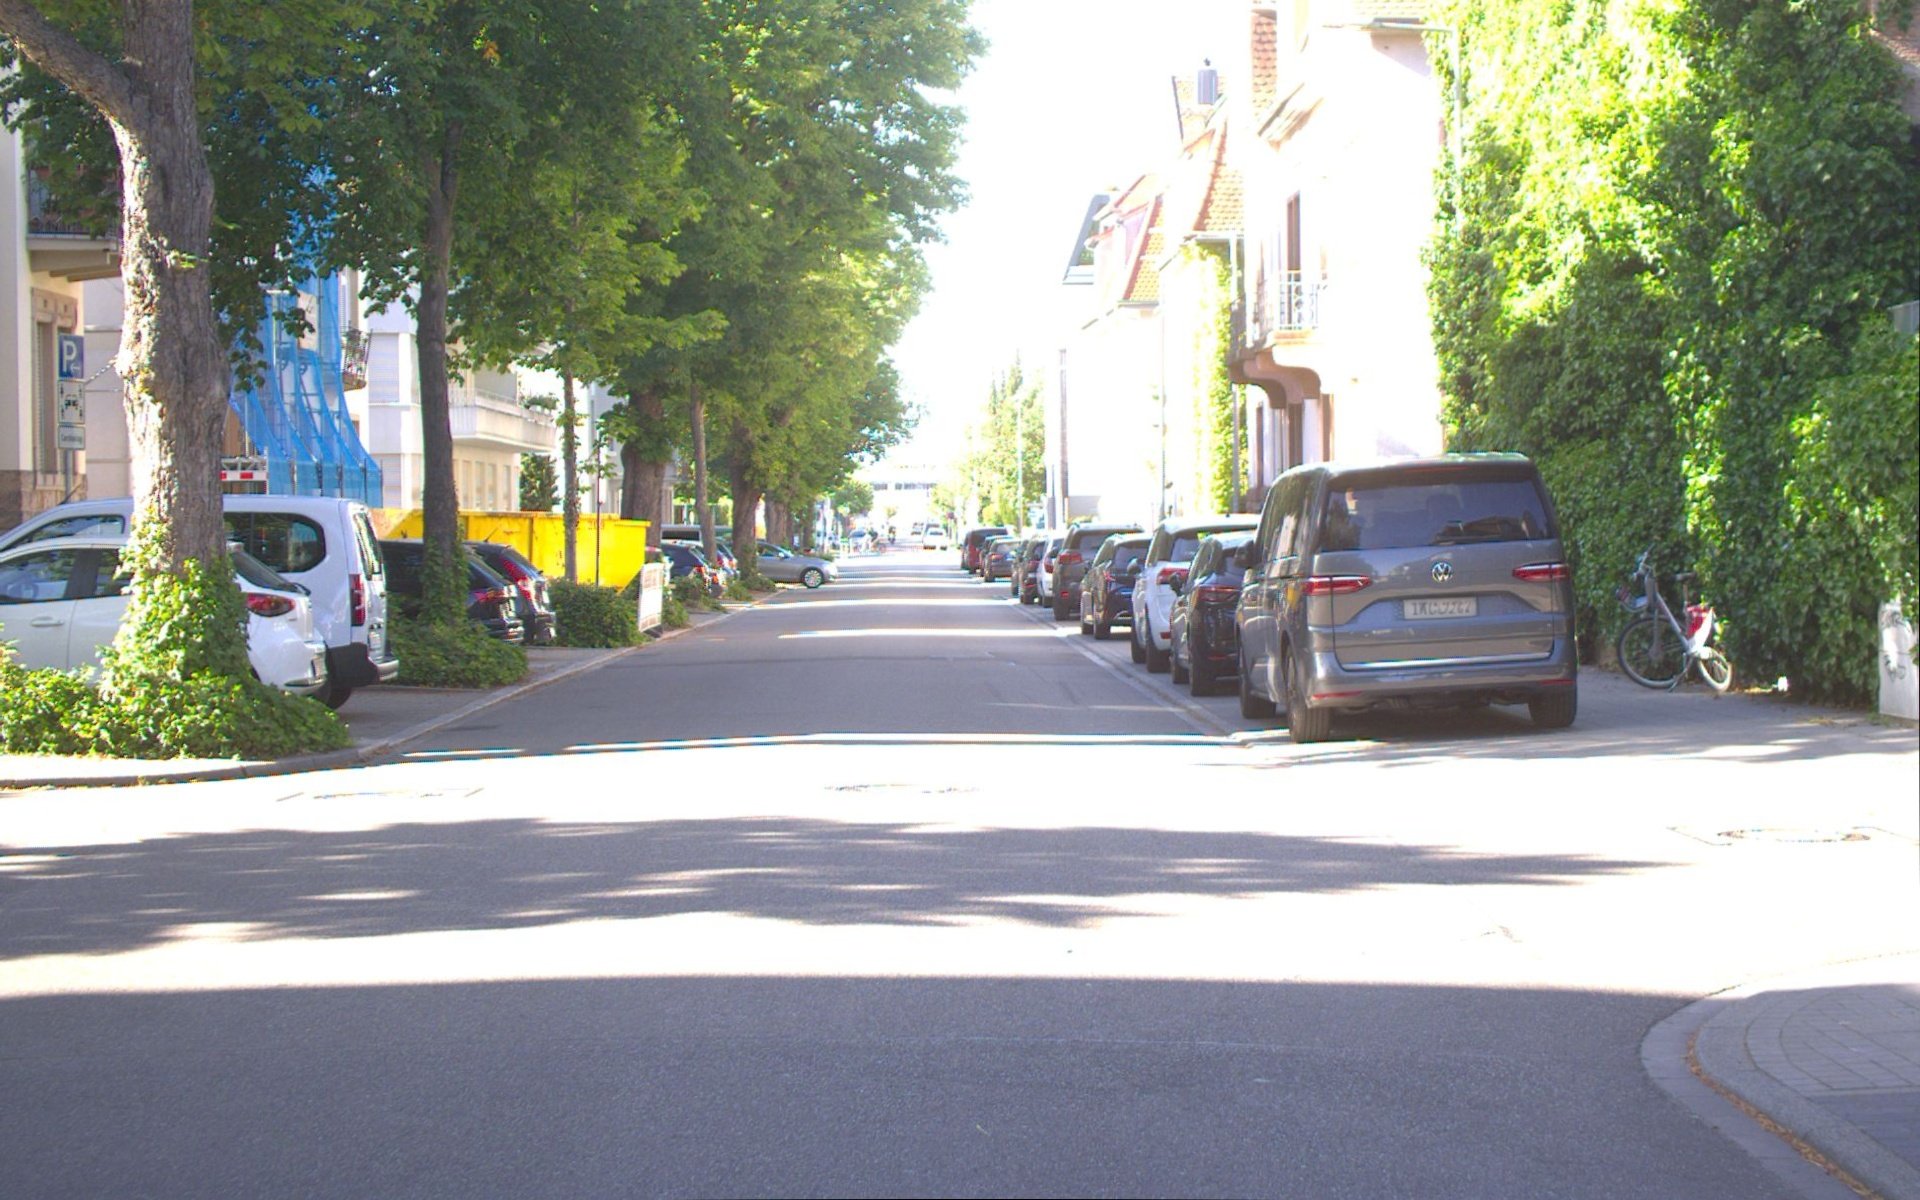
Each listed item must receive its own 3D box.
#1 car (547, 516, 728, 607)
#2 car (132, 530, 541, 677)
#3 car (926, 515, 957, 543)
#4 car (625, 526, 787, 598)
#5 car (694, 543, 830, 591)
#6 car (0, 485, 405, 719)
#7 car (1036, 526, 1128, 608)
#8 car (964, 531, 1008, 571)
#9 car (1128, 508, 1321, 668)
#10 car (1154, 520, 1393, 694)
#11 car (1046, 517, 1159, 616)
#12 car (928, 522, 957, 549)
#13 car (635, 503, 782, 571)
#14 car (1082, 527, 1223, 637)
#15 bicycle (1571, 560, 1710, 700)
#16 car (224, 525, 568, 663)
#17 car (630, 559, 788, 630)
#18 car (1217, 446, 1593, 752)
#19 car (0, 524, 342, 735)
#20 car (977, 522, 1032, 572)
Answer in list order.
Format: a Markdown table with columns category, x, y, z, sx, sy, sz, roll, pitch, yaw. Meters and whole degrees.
| category | x | y | z | sx | sy | sz | roll | pitch | yaw |
| --- | --- | --- | --- | --- | --- | --- | --- | --- | --- |
| car | -7.386 | -0.889 | 78.520 | 3.986 | 2.007 | 2.001 | -1 | 1 | -9 |
| car | -6.594 | 0.022 | 36.653 | 3.987 | 1.464 | 1.864 | 0 | 2 | 1 |
| car | -1.104 | -4.242 | 205.326 | 1.771 | 1.625 | 3.866 | -1 | 1 | 0 |
| car | -6.617 | -1.009 | 89.886 | 4.006 | 1.729 | 1.894 | 2 | 2 | 2 |
| car | -5.996 | -1.017 | 104.421 | 3.987 | 1.404 | 1.702 | -1 | 1 | 1 |
| car | -6.583 | -0.004 | 27.709 | 3.986 | 1.754 | 1.798 | 1 | 1 | -4 |
| car | 2.519 | -0.711 | 71.664 | 1.771 | 1.625 | 3.866 | -1 | 1 | 0 |
| car | 1.069 | -2.033 | 142.263 | 1.771 | 1.625 | 3.866 | -1 | 1 | 0 |
| car | 2.789 | -0.167 | 36.929 | 1.789 | 1.612 | 3.866 | -1 | 1 | 0 |
| car | 2.794 | 0.016 | 31.355 | 1.690 | 1.394 | 3.806 | -3 | 1 | -1 |
| car | 2.415 | -0.597 | 59.020 | 1.771 | 1.625 | 3.866 | -1 | 1 | 0 |
| car | -1.071 | -3.984 | 213.285 | 1.771 | 1.625 | 3.866 | -1 | 1 | 0 |
| car | -7.221 | -1.825 | 99.039 | 4.006 | 1.834 | 2.000 | 2 | 2 | 2 |
| car | 2.665 | -0.277 | 48.217 | 1.771 | 1.450 | 3.866 | -1 | 1 | 0 |
| bicycle | 5.325 | 0.213 | 27.019 | 0.588 | 1.020 | 2.370 | -1 | 1 | -1 |
| car | -6.785 | -0.098 | 41.530 | 3.986 | 1.546 | 1.838 | -1 | 2 | -9 |
| car | -6.735 | -0.166 | 92.493 | 4.006 | 1.729 | 1.894 | 2 | 2 | 2 |
| car | 3.054 | -0.065 | 24.562 | 1.904 | 1.864 | 4.674 | -3 | 1 | -1 |
| car | -6.710 | 0.186 | 25.513 | 3.986 | 1.459 | 1.798 | 1 | 0 | -4 |
| car | 1.461 | -1.769 | 113.761 | 1.771 | 1.625 | 3.866 | -1 | 1 | 0 |
